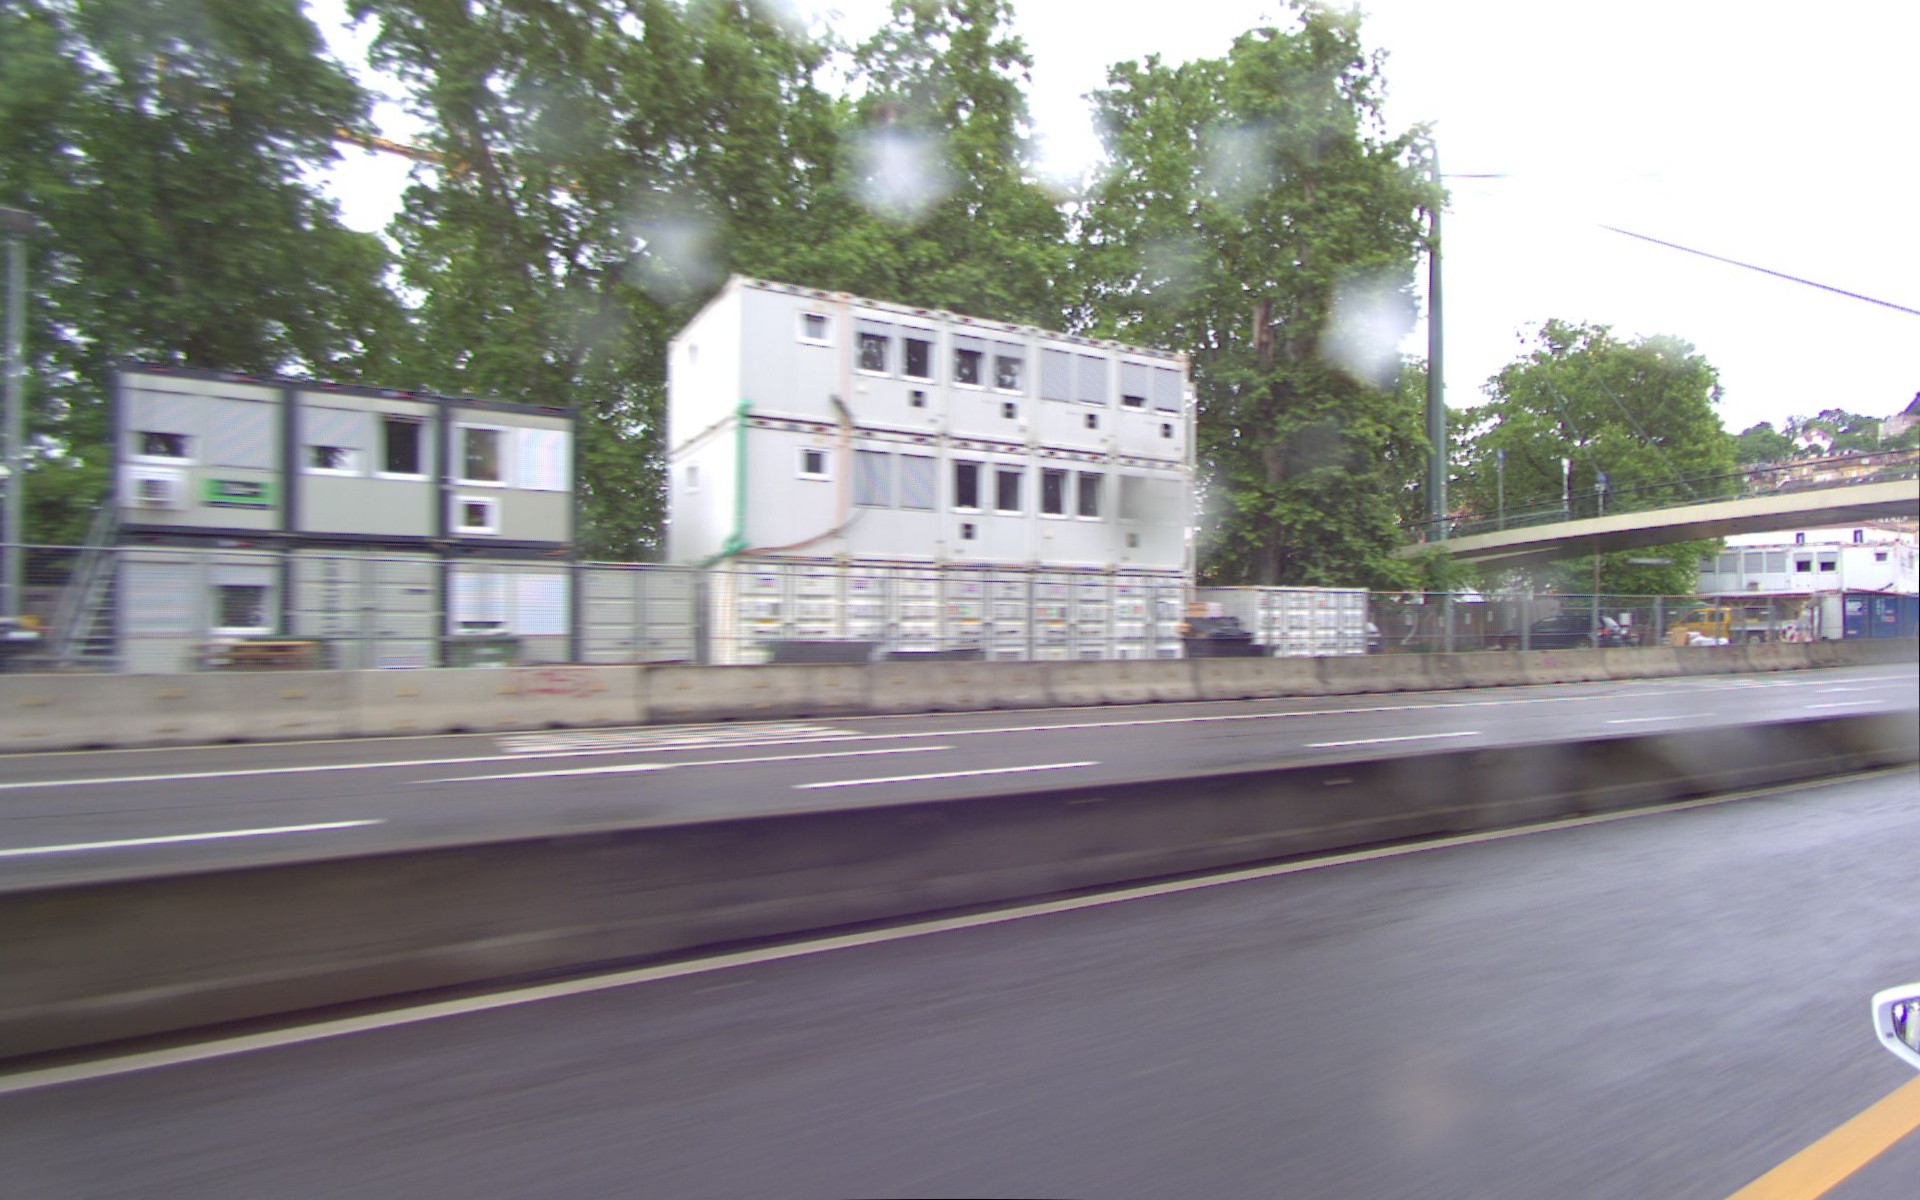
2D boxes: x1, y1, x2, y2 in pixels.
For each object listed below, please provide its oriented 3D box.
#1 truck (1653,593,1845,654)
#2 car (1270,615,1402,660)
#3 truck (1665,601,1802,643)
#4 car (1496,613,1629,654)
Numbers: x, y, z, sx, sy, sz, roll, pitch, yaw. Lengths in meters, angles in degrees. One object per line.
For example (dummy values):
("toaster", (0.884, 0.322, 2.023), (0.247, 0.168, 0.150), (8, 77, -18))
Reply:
("truck", (34.983, 1.085, 44.765), (2.667, 2.484, 6.236), (2, -2, -35))
("car", (12.997, 1.297, 34.948), (1.976, 1.462, 3.970), (1, -2, -29))
("truck", (39.929, 1.161, 52.014), (2.140, 2.040, 5.219), (0, -2, -32))
("car", (25.252, 1.412, 42.240), (1.941, 1.649, 4.391), (1, -2, -37))
